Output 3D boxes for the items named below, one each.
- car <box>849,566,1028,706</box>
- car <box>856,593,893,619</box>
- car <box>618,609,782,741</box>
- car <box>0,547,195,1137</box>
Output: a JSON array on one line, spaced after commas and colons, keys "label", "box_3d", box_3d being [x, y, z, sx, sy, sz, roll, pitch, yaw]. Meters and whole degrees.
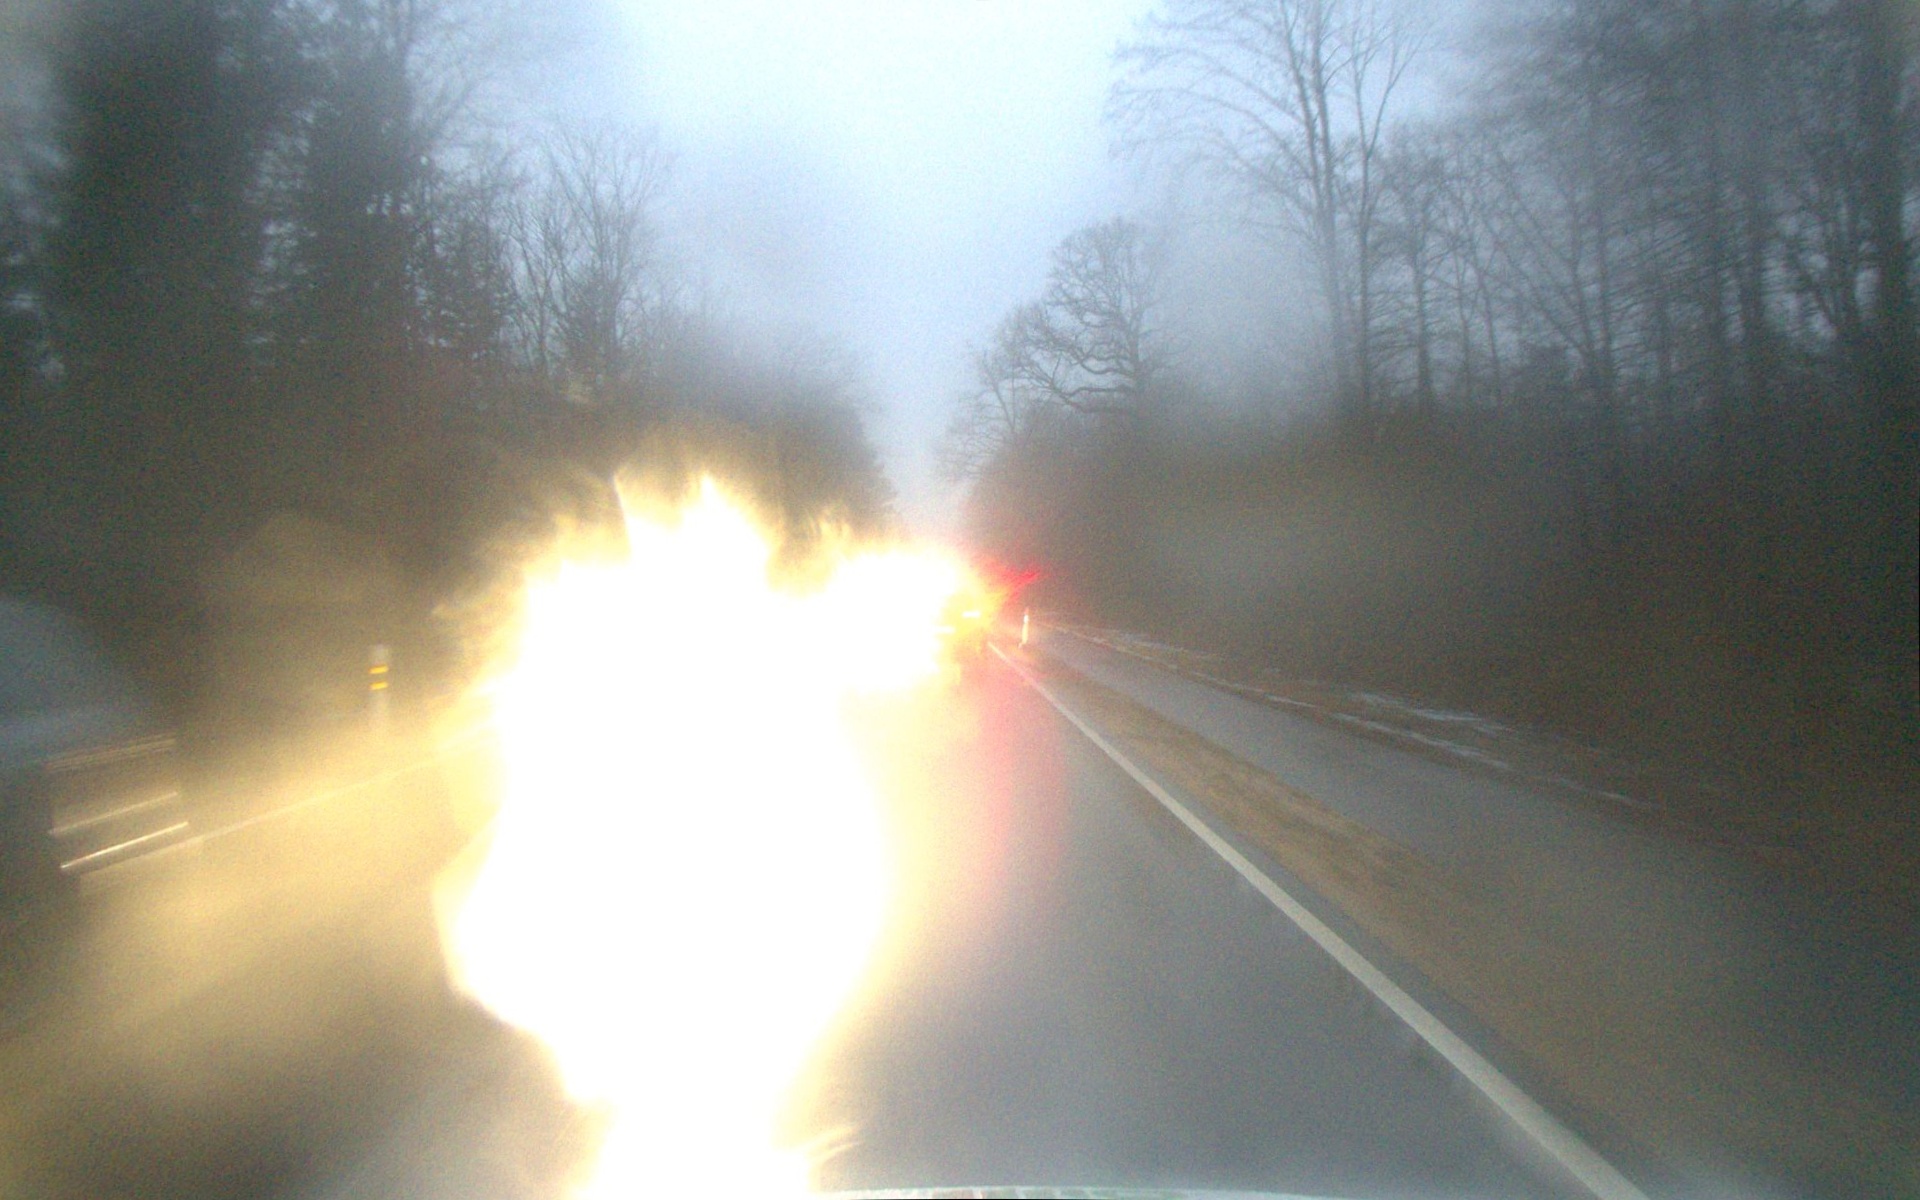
[{"label": "car", "box_3d": [-0.371, 0.654, 32.561, 3.118, 2.428, 6.636, 1, 0, 0]}, {"label": "car", "box_3d": [-5.482, 0.346, 106.380, 1.934, 1.595, 4.928, -1, 0, 1]}, {"label": "car", "box_3d": [-3.916, 1.065, 25.701, 1.785, 1.677, 4.749, -2, 1, -1]}, {"label": "car", "box_3d": [-3.537, 0.696, 3.801, 1.763, 1.628, 3.861, -2, 0, -1]}]
